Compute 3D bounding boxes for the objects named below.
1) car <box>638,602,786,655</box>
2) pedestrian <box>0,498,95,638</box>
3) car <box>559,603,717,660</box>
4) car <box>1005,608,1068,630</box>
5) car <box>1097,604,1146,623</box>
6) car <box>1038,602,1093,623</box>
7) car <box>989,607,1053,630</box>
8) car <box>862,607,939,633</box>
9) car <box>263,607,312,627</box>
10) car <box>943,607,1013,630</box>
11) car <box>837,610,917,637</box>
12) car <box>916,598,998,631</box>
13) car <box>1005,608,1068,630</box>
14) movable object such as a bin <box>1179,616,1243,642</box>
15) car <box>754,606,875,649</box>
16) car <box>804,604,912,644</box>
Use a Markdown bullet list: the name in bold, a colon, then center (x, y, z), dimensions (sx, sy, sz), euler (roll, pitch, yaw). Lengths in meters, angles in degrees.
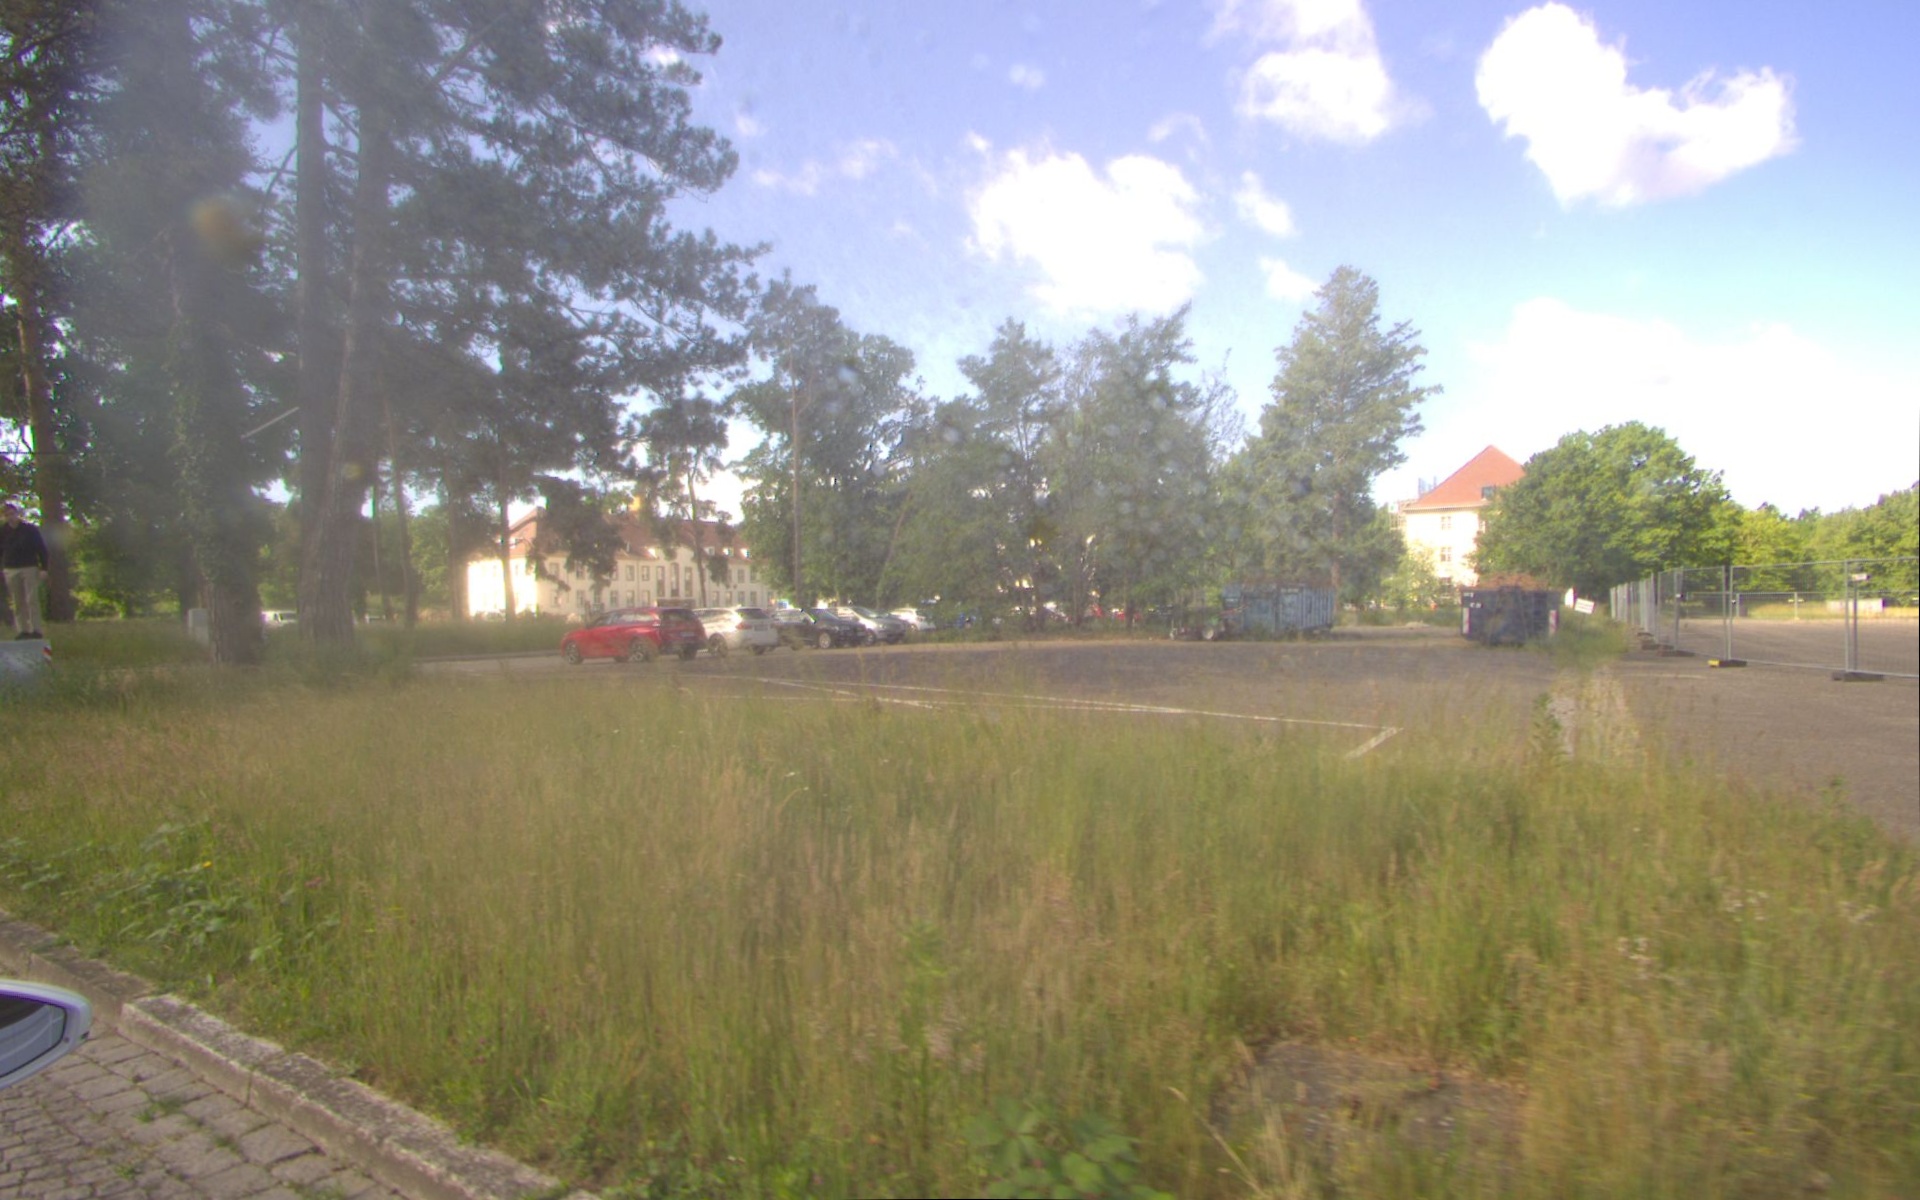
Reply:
- **car**: center (-7.298, 0.836, 29.404), dimensions (4.180, 1.396, 1.776), euler (-3, -1, 31)
- **pedestrian**: center (-12.605, -0.413, 13.516), dimensions (1.154, 1.820, 1.057), euler (-1, 1, -28)
- **car**: center (-8.687, 0.860, 26.921), dimensions (4.266, 1.417, 1.744), euler (-2, -2, 33)
- **car**: center (5.427, 1.354, 71.388), dimensions (4.181, 1.568, 1.720), euler (-1, -1, 33)
- **car**: center (13.618, 1.180, 84.537), dimensions (3.682, 1.568, 1.705), euler (-1, -1, 33)
- **car**: center (7.820, 0.931, 74.305), dimensions (3.640, 1.568, 1.705), euler (-1, -1, 33)
- **car**: center (4.191, 1.296, 69.024), dimensions (4.181, 1.568, 1.720), euler (-1, -1, 33)
- **car**: center (-3.396, 1.146, 57.134), dimensions (4.181, 1.487, 1.720), euler (-1, -1, 33)
- **car**: center (-55.112, 1.358, 82.042), dimensions (4.103, 1.603, 1.823), euler (0, 0, 33)
- **car**: center (1.155, 1.187, 63.613), dimensions (4.181, 1.443, 1.720), euler (-1, -1, 33)
- **car**: center (-4.533, 1.272, 54.290), dimensions (4.181, 1.443, 1.720), euler (-1, -1, 33)
- **car**: center (-0.199, 0.905, 61.311), dimensions (4.677, 1.973, 1.982), euler (-1, -1, 33)
- **car**: center (5.441, 1.354, 71.380), dimensions (4.181, 1.568, 1.720), euler (-1, -1, 33)
- **movable object such as a bin**: center (7.654, 0.871, 30.523), dimensions (1.697, 0.762, 1.143), euler (-1, 0, 26)
- **car**: center (-4.962, 0.906, 34.013), dimensions (3.988, 1.332, 1.612), euler (-1, 1, 33)
- **car**: center (-3.764, 0.888, 36.646), dimensions (3.740, 1.390, 1.719), euler (-1, -1, 35)
